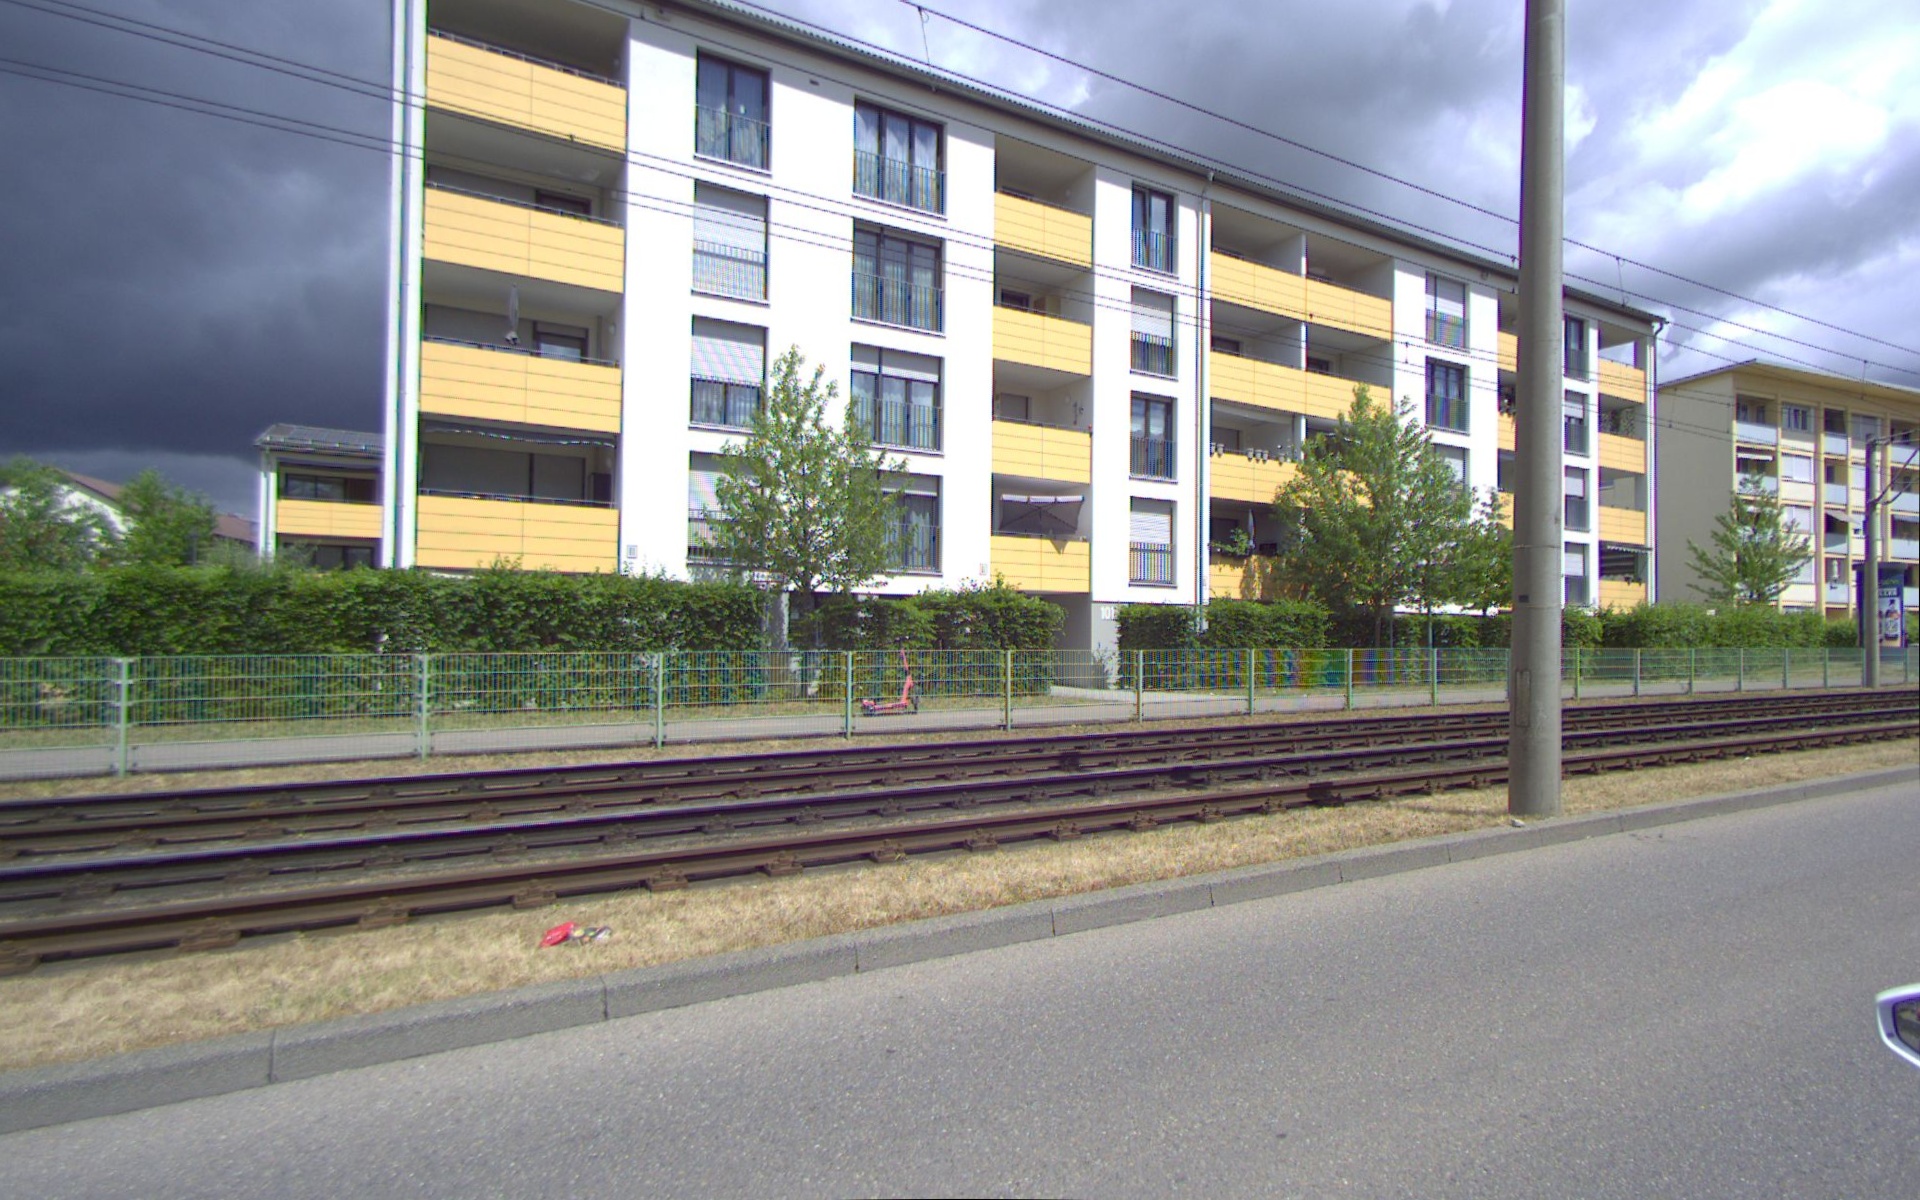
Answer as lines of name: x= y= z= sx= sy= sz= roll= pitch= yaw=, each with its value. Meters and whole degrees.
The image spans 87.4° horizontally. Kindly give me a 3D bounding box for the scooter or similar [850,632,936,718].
scooter or similar: x=-1.063 y=1.179 z=16.060 sx=1.286 sy=1.310 sz=0.488 roll=1 pitch=-1 yaw=-30
